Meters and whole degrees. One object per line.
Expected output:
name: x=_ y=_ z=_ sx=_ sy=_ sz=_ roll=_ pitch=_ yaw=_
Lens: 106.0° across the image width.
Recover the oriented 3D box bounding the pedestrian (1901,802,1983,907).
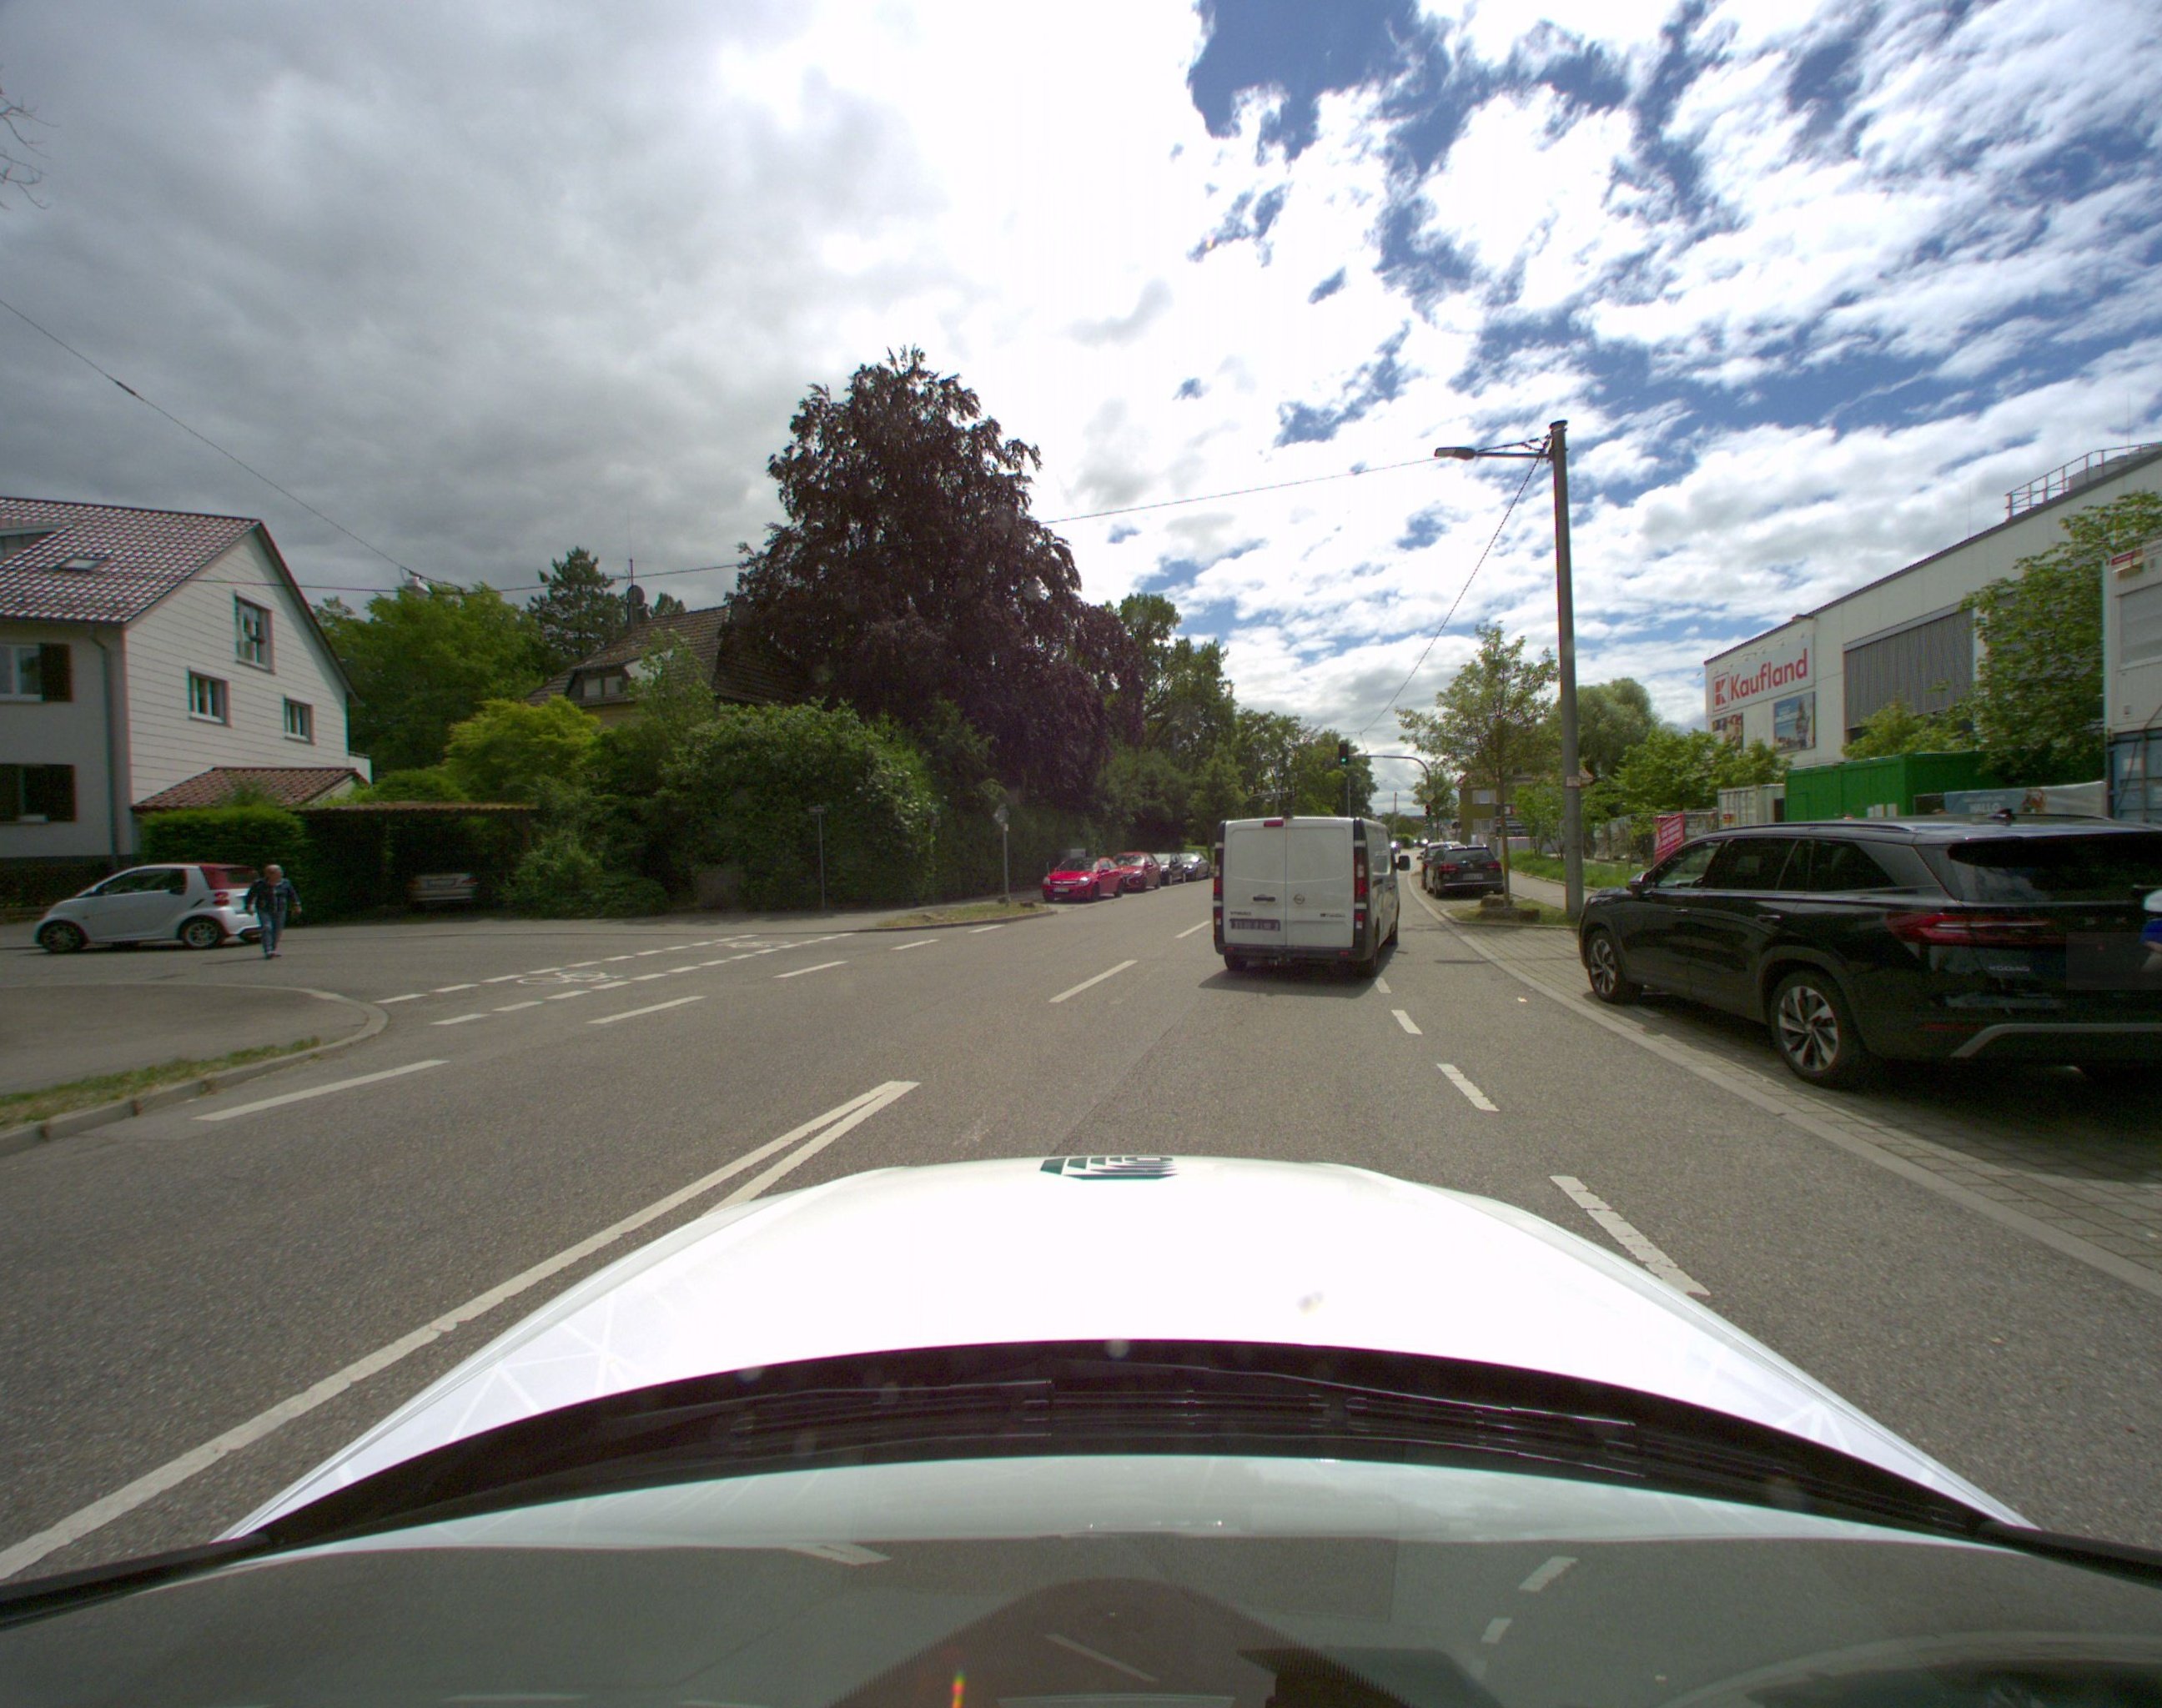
pedestrian: x=14.449 y=0.012 z=13.690 sx=0.645 sy=1.696 sz=0.728 roll=-1 pitch=0 yaw=17

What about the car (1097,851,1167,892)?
car: x=2.075 y=0.637 z=31.950 sx=1.636 sy=1.450 sz=4.125 roll=0 pitch=0 yaw=20

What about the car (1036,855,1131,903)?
car: x=0.198 y=0.762 z=26.959 sx=1.646 sy=1.378 sz=4.589 roll=0 pitch=0 yaw=20

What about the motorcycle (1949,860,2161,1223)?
motorcycle: x=4.520 y=0.711 z=2.661 sx=1.065 sy=1.305 sz=2.266 roll=-4 pitch=0 yaw=8

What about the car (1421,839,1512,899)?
car: x=11.199 y=0.383 z=23.978 sx=1.750 sy=1.477 sz=4.959 roll=-4 pitch=-1 yaw=18

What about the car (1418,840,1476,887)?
car: x=12.857 y=0.302 z=28.751 sx=1.555 sy=1.493 sz=4.021 roll=-3 pitch=0 yaw=21

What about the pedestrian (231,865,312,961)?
pedestrian: x=-13.343 y=0.951 z=13.447 sx=0.731 sy=1.508 sz=0.624 roll=-1 pitch=0 yaw=-19

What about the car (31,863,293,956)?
car: x=-16.848 y=0.960 z=15.102 sx=2.776 sy=1.555 sz=1.580 roll=0 pitch=0 yaw=-18

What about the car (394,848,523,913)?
car: x=-16.378 y=0.624 z=21.651 sx=1.730 sy=1.509 sz=3.970 roll=-1 pitch=1 yaw=-23

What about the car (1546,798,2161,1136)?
car: x=5.589 y=0.534 z=6.320 sx=1.867 sy=1.621 sz=4.861 roll=-3 pitch=0 yaw=10

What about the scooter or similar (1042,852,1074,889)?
scooter or similar: x=-0.905 y=0.660 z=32.635 sx=0.664 sy=1.412 sz=1.658 roll=-1 pitch=1 yaw=22

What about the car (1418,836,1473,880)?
car: x=15.103 y=0.160 z=33.948 sx=1.722 sy=1.616 sz=4.409 roll=-4 pitch=-1 yaw=20

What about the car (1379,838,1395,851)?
car: x=40.373 y=-1.292 z=107.360 sx=1.817 sy=1.616 sz=4.174 roll=-3 pitch=0 yaw=21

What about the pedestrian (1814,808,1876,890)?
pedestrian: x=16.427 y=-0.104 z=17.535 sx=0.646 sy=1.697 sz=0.848 roll=-1 pitch=0 yaw=17

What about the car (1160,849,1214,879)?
car: x=5.344 y=0.466 z=40.576 sx=1.681 sy=1.365 sz=4.710 roll=0 pitch=1 yaw=20

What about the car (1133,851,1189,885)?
car: x=3.644 y=0.596 z=36.589 sx=1.581 sy=1.450 sz=3.615 roll=0 pitch=0 yaw=21

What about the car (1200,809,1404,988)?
car: x=3.351 y=0.446 z=11.509 sx=1.921 sy=1.960 sz=4.861 roll=1 pitch=1 yaw=26
